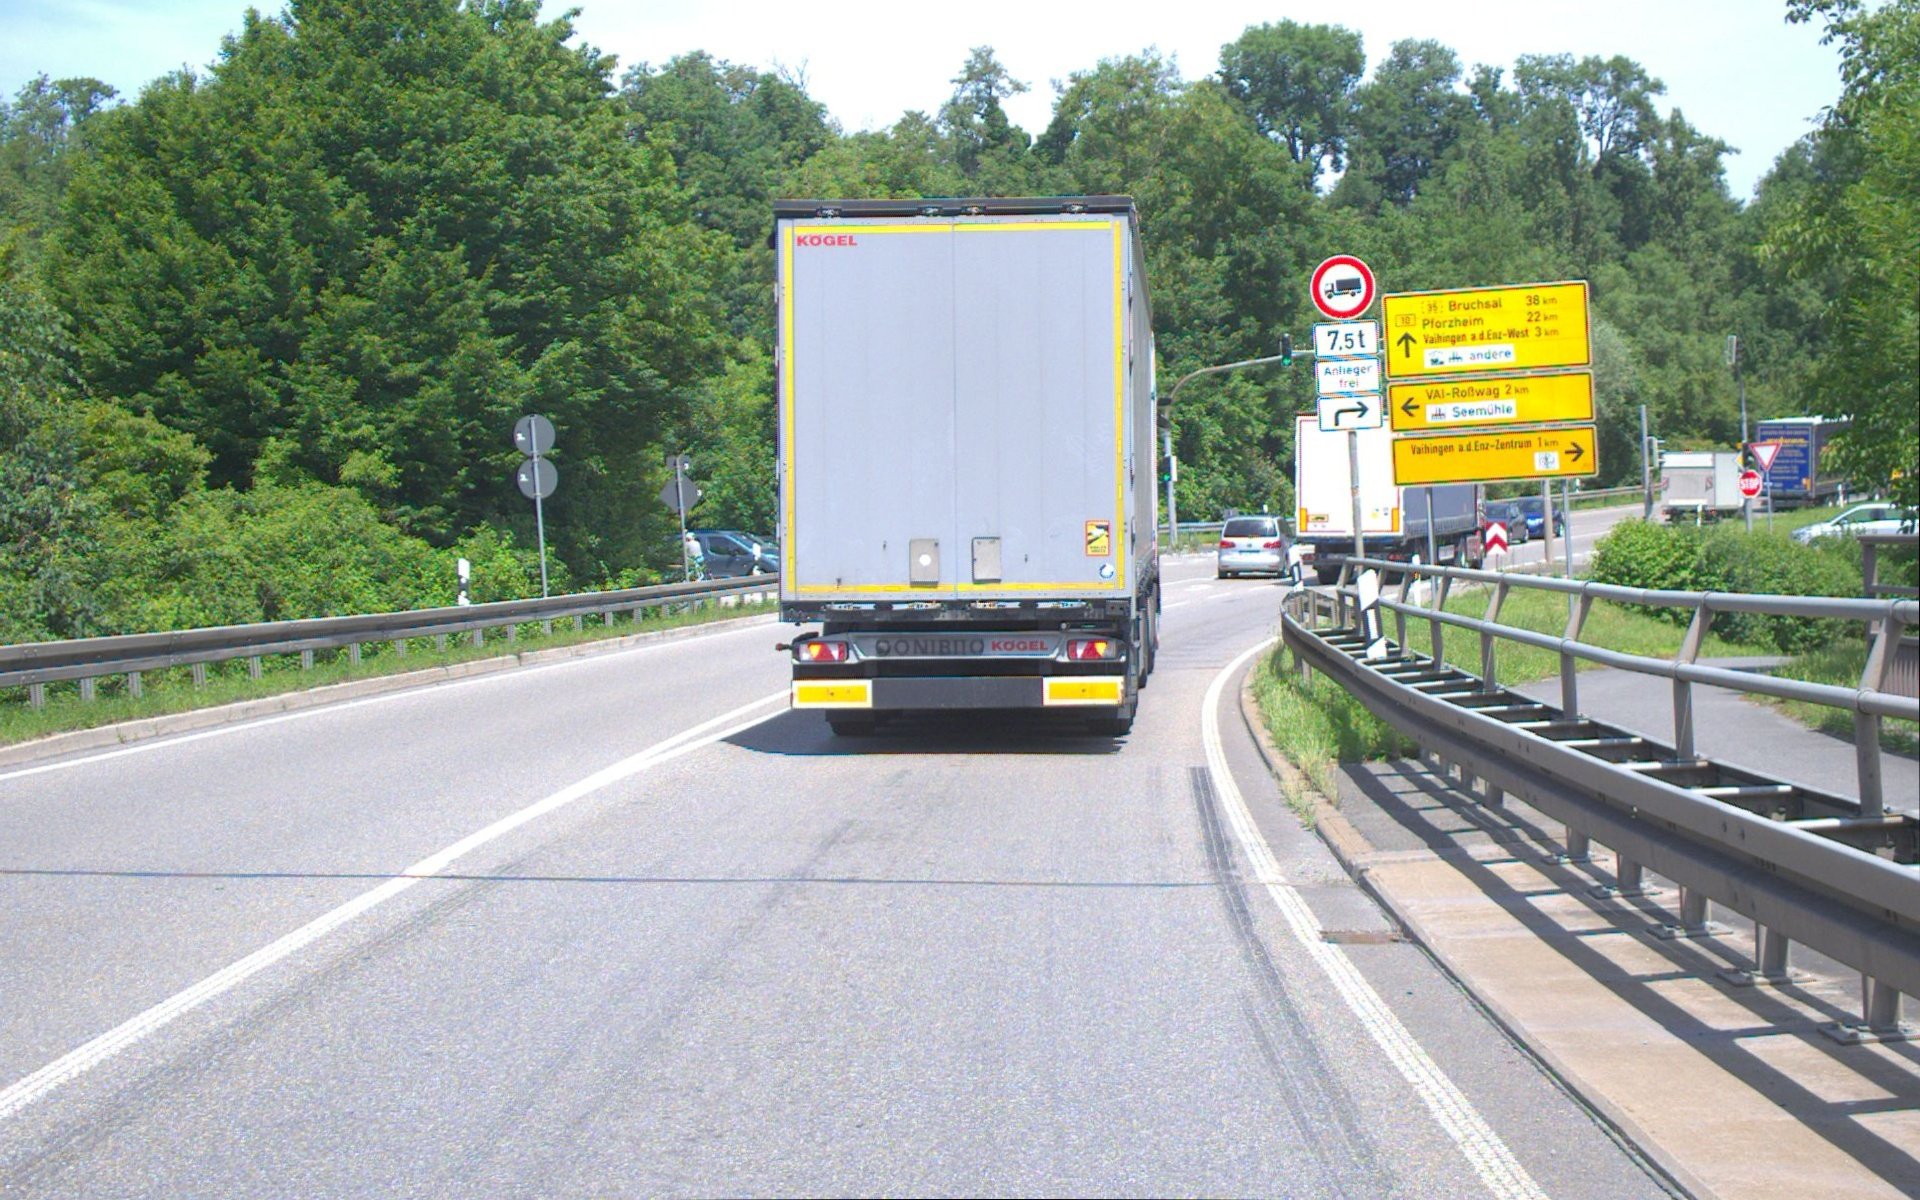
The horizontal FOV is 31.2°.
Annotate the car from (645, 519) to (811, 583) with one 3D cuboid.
[{"bbox_3d":[-6.567,-1.395,97.387,4.238,1.764,1.998,0,1,21],"label":"car"}]

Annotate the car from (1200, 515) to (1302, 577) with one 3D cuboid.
[{"bbox_3d":[7.511,-1.370,88.339,1.995,1.514,3.997,1,0,14],"label":"car"}]

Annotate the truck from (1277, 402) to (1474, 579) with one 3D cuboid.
[{"bbox_3d":[10.332,-2.573,84.263,3.181,4.015,11.737,0,1,15],"label":"truck"}]

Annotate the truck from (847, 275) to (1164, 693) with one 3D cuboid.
[{"bbox_3d":[0.538,-1.175,36.669,3.038,4.020,6.629,-1,1,2],"label":"truck"}]

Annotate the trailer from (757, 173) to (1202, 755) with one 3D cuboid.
[{"bbox_3d":[0.320,-1.048,30.218,3.052,4.020,12.558,-1,1,2],"label":"trailer"}]

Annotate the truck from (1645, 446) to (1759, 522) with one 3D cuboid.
[{"bbox_3d":[29.719,-4.637,137.504,2.859,2.938,7.095,0,2,26],"label":"truck"}]

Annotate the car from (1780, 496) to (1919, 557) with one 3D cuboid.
[{"bbox_3d":[25.913,-2.112,98.870,4.431,1.712,1.998,1,0,16],"label":"car"}]

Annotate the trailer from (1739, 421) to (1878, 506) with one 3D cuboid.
[{"bbox_3d":[37.894,-6.059,153.233,3.257,3.672,9.234,1,2,32],"label":"trailer"}]

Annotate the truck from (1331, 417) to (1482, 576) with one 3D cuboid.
[{"bbox_3d":[11.652,-2.628,89.291,3.171,3.990,5.811,0,1,15],"label":"truck"}]
